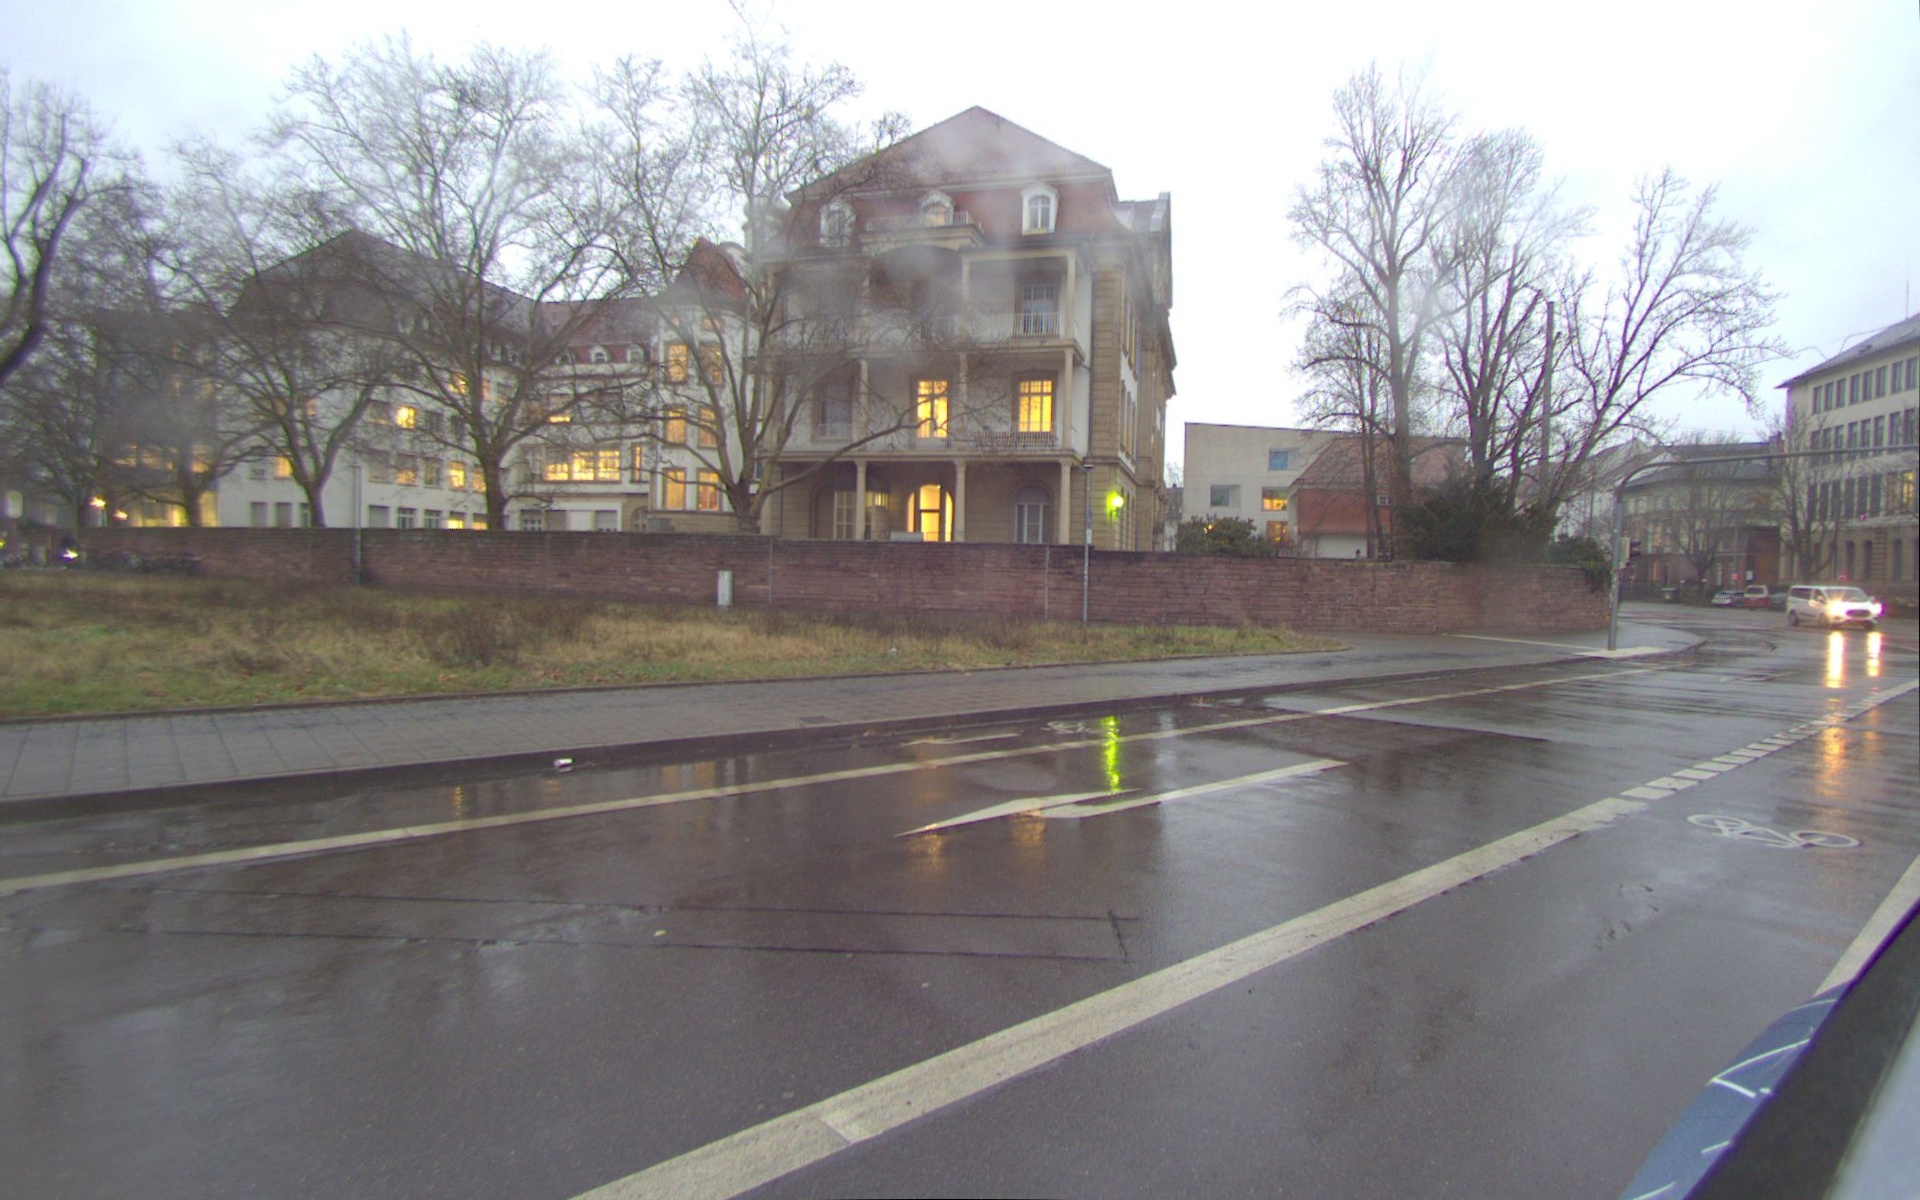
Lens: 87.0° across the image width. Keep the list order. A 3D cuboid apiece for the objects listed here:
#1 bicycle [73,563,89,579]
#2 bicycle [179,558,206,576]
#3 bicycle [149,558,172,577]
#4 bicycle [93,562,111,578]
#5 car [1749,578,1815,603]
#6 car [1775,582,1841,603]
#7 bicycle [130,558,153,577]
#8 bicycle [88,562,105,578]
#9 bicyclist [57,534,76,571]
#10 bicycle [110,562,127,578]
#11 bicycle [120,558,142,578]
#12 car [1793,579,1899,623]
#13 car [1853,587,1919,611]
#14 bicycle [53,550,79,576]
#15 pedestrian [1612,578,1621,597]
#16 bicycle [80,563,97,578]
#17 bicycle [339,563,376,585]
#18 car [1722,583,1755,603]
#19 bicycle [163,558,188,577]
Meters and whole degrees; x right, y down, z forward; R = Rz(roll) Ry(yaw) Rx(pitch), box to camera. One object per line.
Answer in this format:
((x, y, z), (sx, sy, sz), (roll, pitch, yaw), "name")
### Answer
((-46.676, -1.536, 53.720), (1.522, 0.796, 0.389), (0, 0, 38), "bicycle")
((-34.213, -1.469, 45.112), (1.399, 0.796, 0.355), (0, 0, 26), "bicycle")
((-37.033, -1.497, 46.886), (1.480, 0.849, 0.346), (0, 0, 32), "bicycle")
((-43.134, -1.496, 50.897), (1.522, 0.796, 0.389), (0, 0, 38), "bicycle")
((64.976, -0.783, 80.032), (3.916, 1.924, 2.052), (0, 0, -13), "car")
((64.694, -0.577, 77.235), (3.916, 1.570, 1.805), (0, 0, -13), "car")
((-38.629, -1.507, 47.769), (1.519, 0.869, 0.389), (0, 0, 33), "bicycle")
((-44.182, -1.530, 51.768), (1.522, 0.796, 0.389), (0, 0, 38), "bicycle")
((-41.853, -2.218, 47.388), (0.450, 1.662, 0.603), (0, 0, 37), "bicyclist")
((-41.477, -1.477, 49.877), (1.599, 0.796, 0.388), (0, 0, 41), "bicycle")
((-39.911, -1.540, 48.722), (1.519, 0.928, 0.389), (0, 0, 33), "bicycle")
((42.898, 0.023, 49.168), (1.972, 2.039, 4.866), (0, 0, 16), "car")
((61.959, -0.053, 67.015), (3.927, 1.570, 1.800), (0, 0, 4), "car")
((-41.845, -1.711, 47.378), (1.670, 1.182, 0.603), (0, 0, 37), "bicycle")
((68.829, -1.322, 106.075), (0.539, 2.038, 0.473), (2, 2, 15), "pedestrian")
((-45.445, -1.533, 52.742), (1.522, 0.796, 0.389), (0, 0, 38), "bicycle")
((-23.387, -0.988, 39.273), (1.366, 0.835, 0.392), (0, 0, 14), "bicycle")
((66.475, -0.635, 86.397), (1.992, 1.690, 3.940), (0, 0, 42), "car")
((-35.553, -1.469, 45.861), (1.519, 0.796, 0.389), (0, 0, 33), "bicycle")
